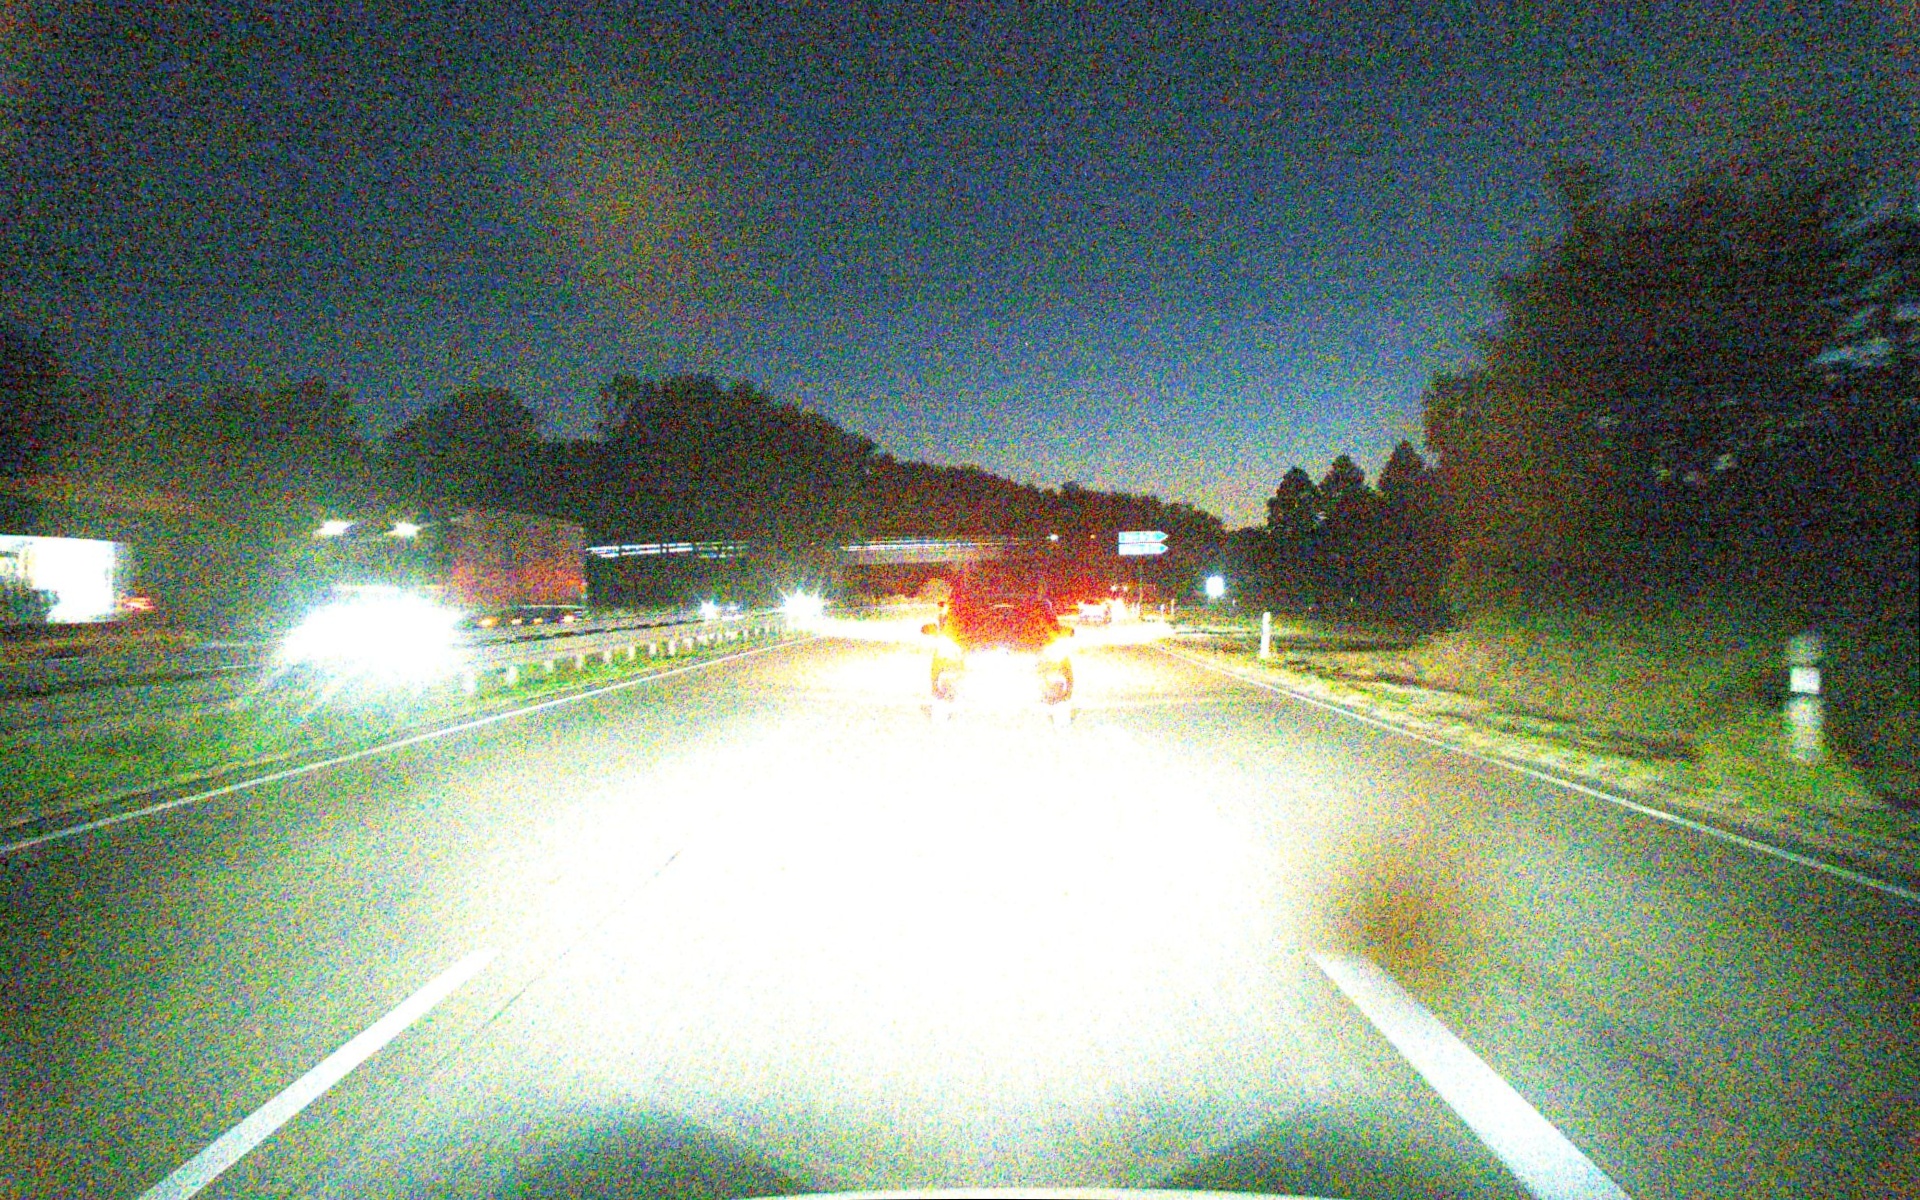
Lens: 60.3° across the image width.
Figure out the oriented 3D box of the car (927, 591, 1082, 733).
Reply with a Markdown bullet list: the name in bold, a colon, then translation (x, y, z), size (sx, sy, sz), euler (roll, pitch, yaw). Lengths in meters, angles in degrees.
- **car**: translation (0.485, 0.658, 19.731), size (1.656, 1.503, 4.000), euler (0, 0, 0)

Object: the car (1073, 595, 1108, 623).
- **car**: translation (7.781, 0.524, 98.705), size (1.698, 1.646, 3.797), euler (0, 0, -1)

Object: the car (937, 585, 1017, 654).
- **car**: translation (0.391, 0.440, 41.875), size (1.900, 1.636, 4.643), euler (1, 0, 0)

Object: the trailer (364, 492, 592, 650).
- **trailer**: translation (-14.427, -0.845, 51.107), size (2.620, 4.222, 13.749), euler (0, 0, 2)

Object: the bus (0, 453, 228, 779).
- **bus**: translation (-11.588, 0.187, 16.538), size (2.863, 3.446, 12.309), euler (0, 1, 1)

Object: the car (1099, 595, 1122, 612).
- **car**: translation (15.682, 0.391, 172.373), size (1.911, 1.564, 4.241), euler (-4, -1, 1)

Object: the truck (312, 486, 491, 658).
- **truck**: translation (-14.674, -0.719, 43.910), size (2.621, 4.250, 5.869), euler (0, 0, 2)

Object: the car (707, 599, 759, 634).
- **car**: translation (-11.550, 0.827, 84.372), size (1.952, 1.713, 4.002), euler (0, 0, 3)
